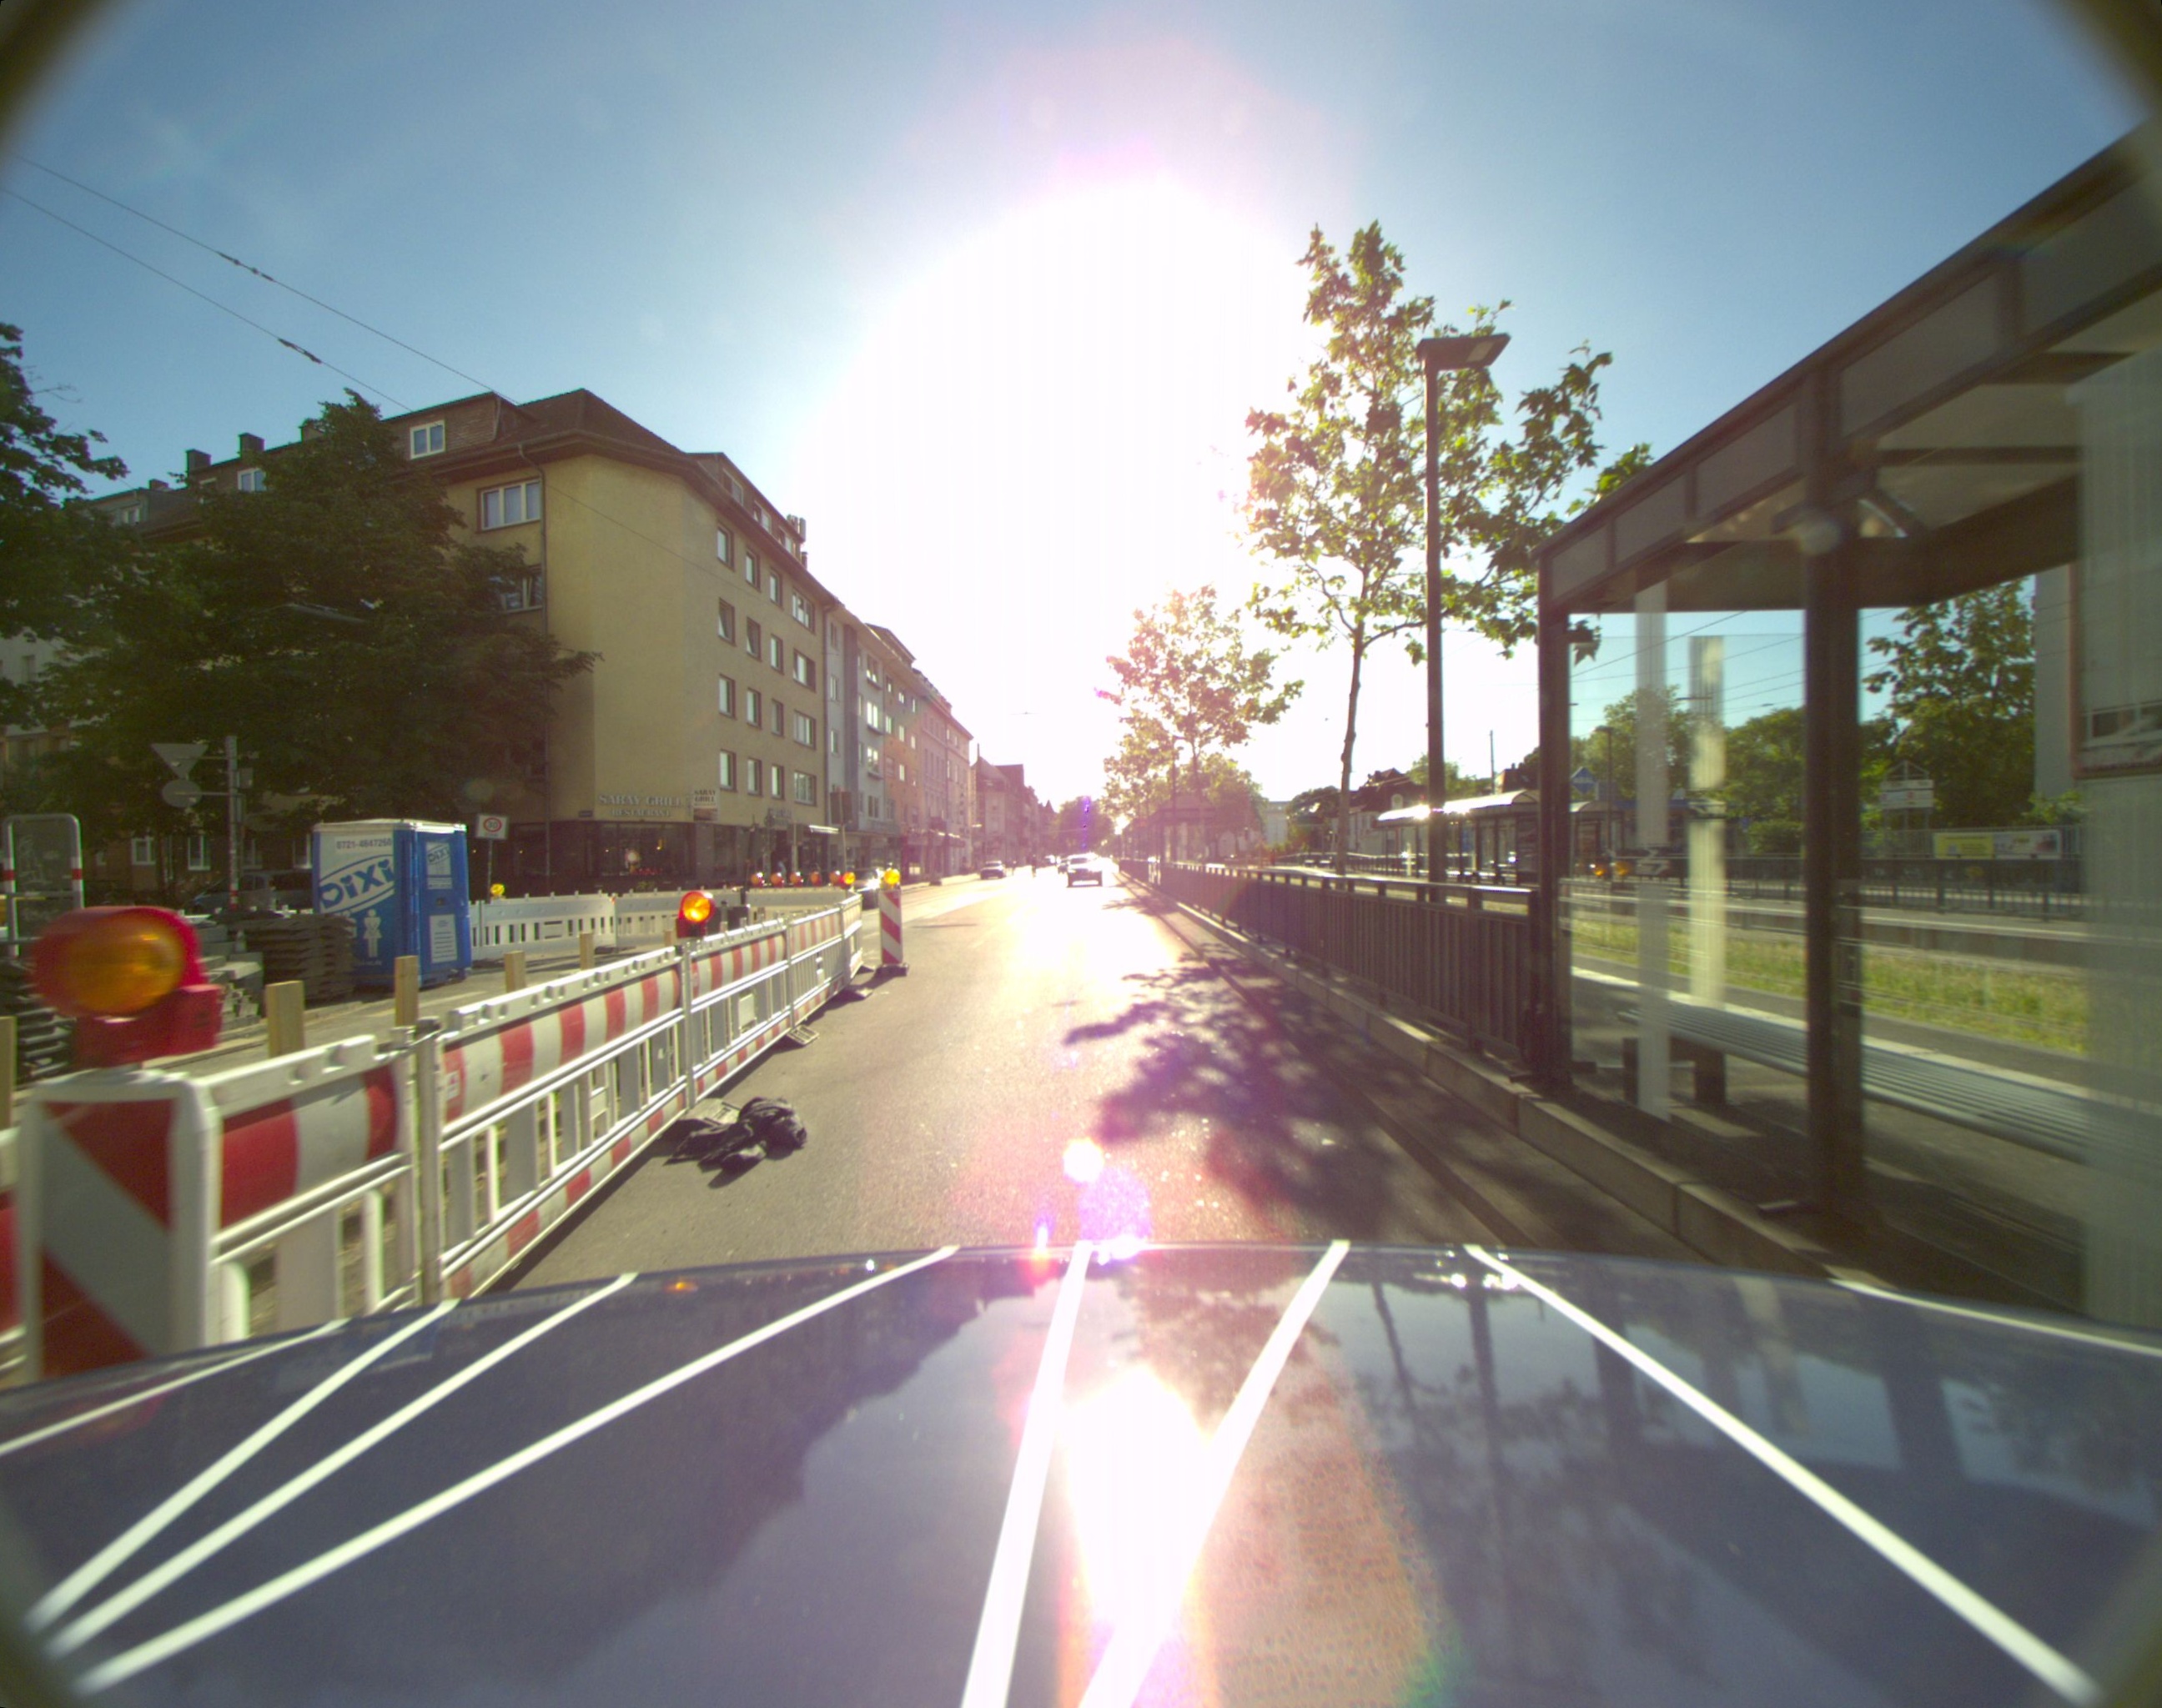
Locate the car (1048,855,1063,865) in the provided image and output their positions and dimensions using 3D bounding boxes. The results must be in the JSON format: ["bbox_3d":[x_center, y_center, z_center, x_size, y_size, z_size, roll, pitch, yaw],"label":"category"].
[{"bbox_3d":[-4.804,1.174,142.474,2.295,1.716,4.595,-1,0,4],"label":"car"}]

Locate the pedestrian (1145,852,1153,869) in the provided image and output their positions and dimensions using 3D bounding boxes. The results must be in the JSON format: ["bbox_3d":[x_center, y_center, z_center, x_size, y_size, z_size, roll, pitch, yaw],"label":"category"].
[{"bbox_3d":[6.617,0.626,74.047,0.803,1.680,1.008,-1,1,4],"label":"pedestrian"}]

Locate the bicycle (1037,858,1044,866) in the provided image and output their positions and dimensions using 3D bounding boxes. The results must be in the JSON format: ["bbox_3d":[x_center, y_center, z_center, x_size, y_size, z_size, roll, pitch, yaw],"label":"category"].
[{"bbox_3d":[-6.414,1.224,119.831,0.693,1.208,2.299,-1,0,6],"label":"bicycle"}]

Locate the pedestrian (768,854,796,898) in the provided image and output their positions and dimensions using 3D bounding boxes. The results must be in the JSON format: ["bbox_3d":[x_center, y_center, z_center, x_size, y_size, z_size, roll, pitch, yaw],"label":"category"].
[{"bbox_3d":[-12.695,0.918,32.298,0.730,1.844,0.901,-1,1,4],"label":"pedestrian"}]

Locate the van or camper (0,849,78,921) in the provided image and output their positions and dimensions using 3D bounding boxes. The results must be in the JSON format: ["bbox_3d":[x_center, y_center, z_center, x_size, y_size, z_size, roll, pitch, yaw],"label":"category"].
[{"bbox_3d":[-40.307,1.119,28.194,5.342,2.533,2.102,-1,0,19],"label":"van or camper"}]

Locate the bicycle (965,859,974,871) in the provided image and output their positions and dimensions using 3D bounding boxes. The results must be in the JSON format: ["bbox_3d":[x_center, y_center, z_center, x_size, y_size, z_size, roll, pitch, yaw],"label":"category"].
[{"bbox_3d":[-10.673,1.030,72.509,0.697,1.102,1.863,-1,0,-13],"label":"bicycle"}]

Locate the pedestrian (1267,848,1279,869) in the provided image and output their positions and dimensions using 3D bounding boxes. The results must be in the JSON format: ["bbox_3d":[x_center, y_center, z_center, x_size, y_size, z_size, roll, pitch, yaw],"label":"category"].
[{"bbox_3d":[14.386,0.318,56.986,0.686,1.583,0.735,-1,1,2],"label":"pedestrian"}]

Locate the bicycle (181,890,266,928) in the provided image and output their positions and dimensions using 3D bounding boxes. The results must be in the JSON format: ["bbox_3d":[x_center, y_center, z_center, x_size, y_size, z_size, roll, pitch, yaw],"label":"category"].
[{"bbox_3d":[-27.436,1.732,24.346,0.368,1.076,1.828,-1,0,14],"label":"bicycle"}]

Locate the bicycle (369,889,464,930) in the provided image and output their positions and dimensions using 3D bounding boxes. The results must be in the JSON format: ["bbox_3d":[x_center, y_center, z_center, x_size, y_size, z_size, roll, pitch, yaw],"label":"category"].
[{"bbox_3d":[-18.438,1.519,21.127,0.368,0.998,1.947,-1,0,37],"label":"bicycle"}]

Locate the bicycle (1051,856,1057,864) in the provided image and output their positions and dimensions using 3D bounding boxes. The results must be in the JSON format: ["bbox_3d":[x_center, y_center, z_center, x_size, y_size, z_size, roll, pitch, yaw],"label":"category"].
[{"bbox_3d":[-4.362,0.933,122.246,0.693,1.208,2.299,-1,0,6],"label":"bicycle"}]

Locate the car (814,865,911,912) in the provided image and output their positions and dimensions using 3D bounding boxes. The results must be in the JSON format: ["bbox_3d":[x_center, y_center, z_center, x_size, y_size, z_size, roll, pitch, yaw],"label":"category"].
[{"bbox_3d":[-7.814,1.191,27.776,1.876,1.434,5.159,-1,0,2],"label":"car"}]

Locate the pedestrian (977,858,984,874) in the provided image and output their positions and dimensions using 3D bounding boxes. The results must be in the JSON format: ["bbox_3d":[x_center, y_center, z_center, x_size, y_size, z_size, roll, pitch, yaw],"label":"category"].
[{"bbox_3d":[-11.097,1.290,83.600,0.663,1.680,0.677,-1,1,1],"label":"pedestrian"}]

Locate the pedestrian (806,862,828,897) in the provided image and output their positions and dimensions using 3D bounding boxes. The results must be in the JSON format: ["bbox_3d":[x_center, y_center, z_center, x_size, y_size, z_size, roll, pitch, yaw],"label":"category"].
[{"bbox_3d":[-11.365,1.101,32.759,0.672,1.498,0.652,-1,1,1],"label":"pedestrian"}]

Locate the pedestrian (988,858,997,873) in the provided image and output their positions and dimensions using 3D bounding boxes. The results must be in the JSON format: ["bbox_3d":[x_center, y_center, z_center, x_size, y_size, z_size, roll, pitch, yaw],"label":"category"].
[{"bbox_3d":[-9.689,1.259,83.290,0.775,1.680,0.800,-2,-2,1],"label":"pedestrian"}]

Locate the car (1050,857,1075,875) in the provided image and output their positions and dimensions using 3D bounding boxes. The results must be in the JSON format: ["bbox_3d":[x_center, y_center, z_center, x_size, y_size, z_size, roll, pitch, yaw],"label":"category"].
[{"bbox_3d":[-1.723,1.120,72.262,1.998,1.594,4.274,-1,0,5],"label":"car"}]

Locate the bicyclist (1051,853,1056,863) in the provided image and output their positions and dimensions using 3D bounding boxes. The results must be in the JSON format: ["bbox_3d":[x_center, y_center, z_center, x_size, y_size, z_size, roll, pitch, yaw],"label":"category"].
[{"bbox_3d":[-4.386,0.699,121.933,0.696,1.596,0.745,-1,1,6],"label":"bicyclist"}]

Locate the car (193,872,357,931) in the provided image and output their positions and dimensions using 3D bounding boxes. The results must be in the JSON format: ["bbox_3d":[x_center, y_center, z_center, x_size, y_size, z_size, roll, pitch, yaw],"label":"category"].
[{"bbox_3d":[-24.453,1.401,23.070,4.238,1.632,2.003,-1,-1,22],"label":"car"}]

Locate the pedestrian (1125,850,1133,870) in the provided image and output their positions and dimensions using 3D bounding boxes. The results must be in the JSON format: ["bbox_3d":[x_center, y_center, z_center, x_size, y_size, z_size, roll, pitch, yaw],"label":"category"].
[{"bbox_3d":[4.546,0.576,72.019,0.637,1.817,0.776,-1,1,4],"label":"pedestrian"}]

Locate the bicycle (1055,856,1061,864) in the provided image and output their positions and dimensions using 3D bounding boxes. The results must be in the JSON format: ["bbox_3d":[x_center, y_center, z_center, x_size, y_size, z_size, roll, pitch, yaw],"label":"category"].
[{"bbox_3d":[-3.633,1.014,119.584,0.693,1.208,2.299,-1,0,6],"label":"bicycle"}]

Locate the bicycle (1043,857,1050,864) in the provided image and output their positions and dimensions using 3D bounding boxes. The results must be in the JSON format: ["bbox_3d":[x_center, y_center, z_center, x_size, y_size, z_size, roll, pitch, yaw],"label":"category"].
[{"bbox_3d":[-5.461,1.020,119.657,0.693,1.208,2.299,-1,0,6],"label":"bicycle"}]

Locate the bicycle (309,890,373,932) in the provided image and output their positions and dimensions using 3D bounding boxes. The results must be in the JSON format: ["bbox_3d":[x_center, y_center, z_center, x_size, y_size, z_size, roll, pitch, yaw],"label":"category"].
[{"bbox_3d":[-21.136,1.611,21.741,0.369,1.076,1.824,-1,0,-13],"label":"bicycle"}]

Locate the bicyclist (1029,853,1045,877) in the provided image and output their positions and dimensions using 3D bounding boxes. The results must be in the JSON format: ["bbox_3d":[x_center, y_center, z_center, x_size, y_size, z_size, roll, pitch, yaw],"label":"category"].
[{"bbox_3d":[-3.564,0.871,61.304,1.005,1.872,0.991,-1,1,-26],"label":"bicyclist"}]

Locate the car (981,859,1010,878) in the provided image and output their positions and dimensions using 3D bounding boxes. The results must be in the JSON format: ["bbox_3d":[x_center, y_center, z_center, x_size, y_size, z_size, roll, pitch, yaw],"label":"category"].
[{"bbox_3d":[-7.264,1.185,64.899,1.904,1.421,4.716,-3,0,0],"label":"car"}]

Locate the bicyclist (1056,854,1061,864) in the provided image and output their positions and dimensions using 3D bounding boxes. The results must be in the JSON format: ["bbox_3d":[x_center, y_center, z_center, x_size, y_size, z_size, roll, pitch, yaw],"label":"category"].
[{"bbox_3d":[-3.600,0.776,120.276,0.696,1.596,0.745,-1,1,6],"label":"bicyclist"}]

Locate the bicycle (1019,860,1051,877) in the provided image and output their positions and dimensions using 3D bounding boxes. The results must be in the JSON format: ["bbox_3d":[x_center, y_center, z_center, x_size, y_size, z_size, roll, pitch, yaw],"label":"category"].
[{"bbox_3d":[-3.712,1.157,61.262,2.382,1.349,1.021,-1,1,-26],"label":"bicycle"}]

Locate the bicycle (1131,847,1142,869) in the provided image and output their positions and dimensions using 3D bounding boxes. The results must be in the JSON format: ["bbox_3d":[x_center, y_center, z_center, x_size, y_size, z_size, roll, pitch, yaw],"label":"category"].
[{"bbox_3d":[3.592,0.237,49.250,0.641,1.371,2.170,-1,0,2],"label":"bicycle"}]

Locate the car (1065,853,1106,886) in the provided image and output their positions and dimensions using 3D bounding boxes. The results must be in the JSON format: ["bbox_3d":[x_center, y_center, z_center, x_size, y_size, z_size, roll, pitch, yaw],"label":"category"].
[{"bbox_3d":[0.311,0.791,41.652,1.979,1.660,4.621,-2,0,3],"label":"car"}]

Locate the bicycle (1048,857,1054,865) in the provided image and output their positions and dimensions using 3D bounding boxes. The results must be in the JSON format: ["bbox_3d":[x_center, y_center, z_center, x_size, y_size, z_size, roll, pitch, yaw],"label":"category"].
[{"bbox_3d":[-4.741,1.033,119.568,0.693,1.208,2.299,-1,0,6],"label":"bicycle"}]
